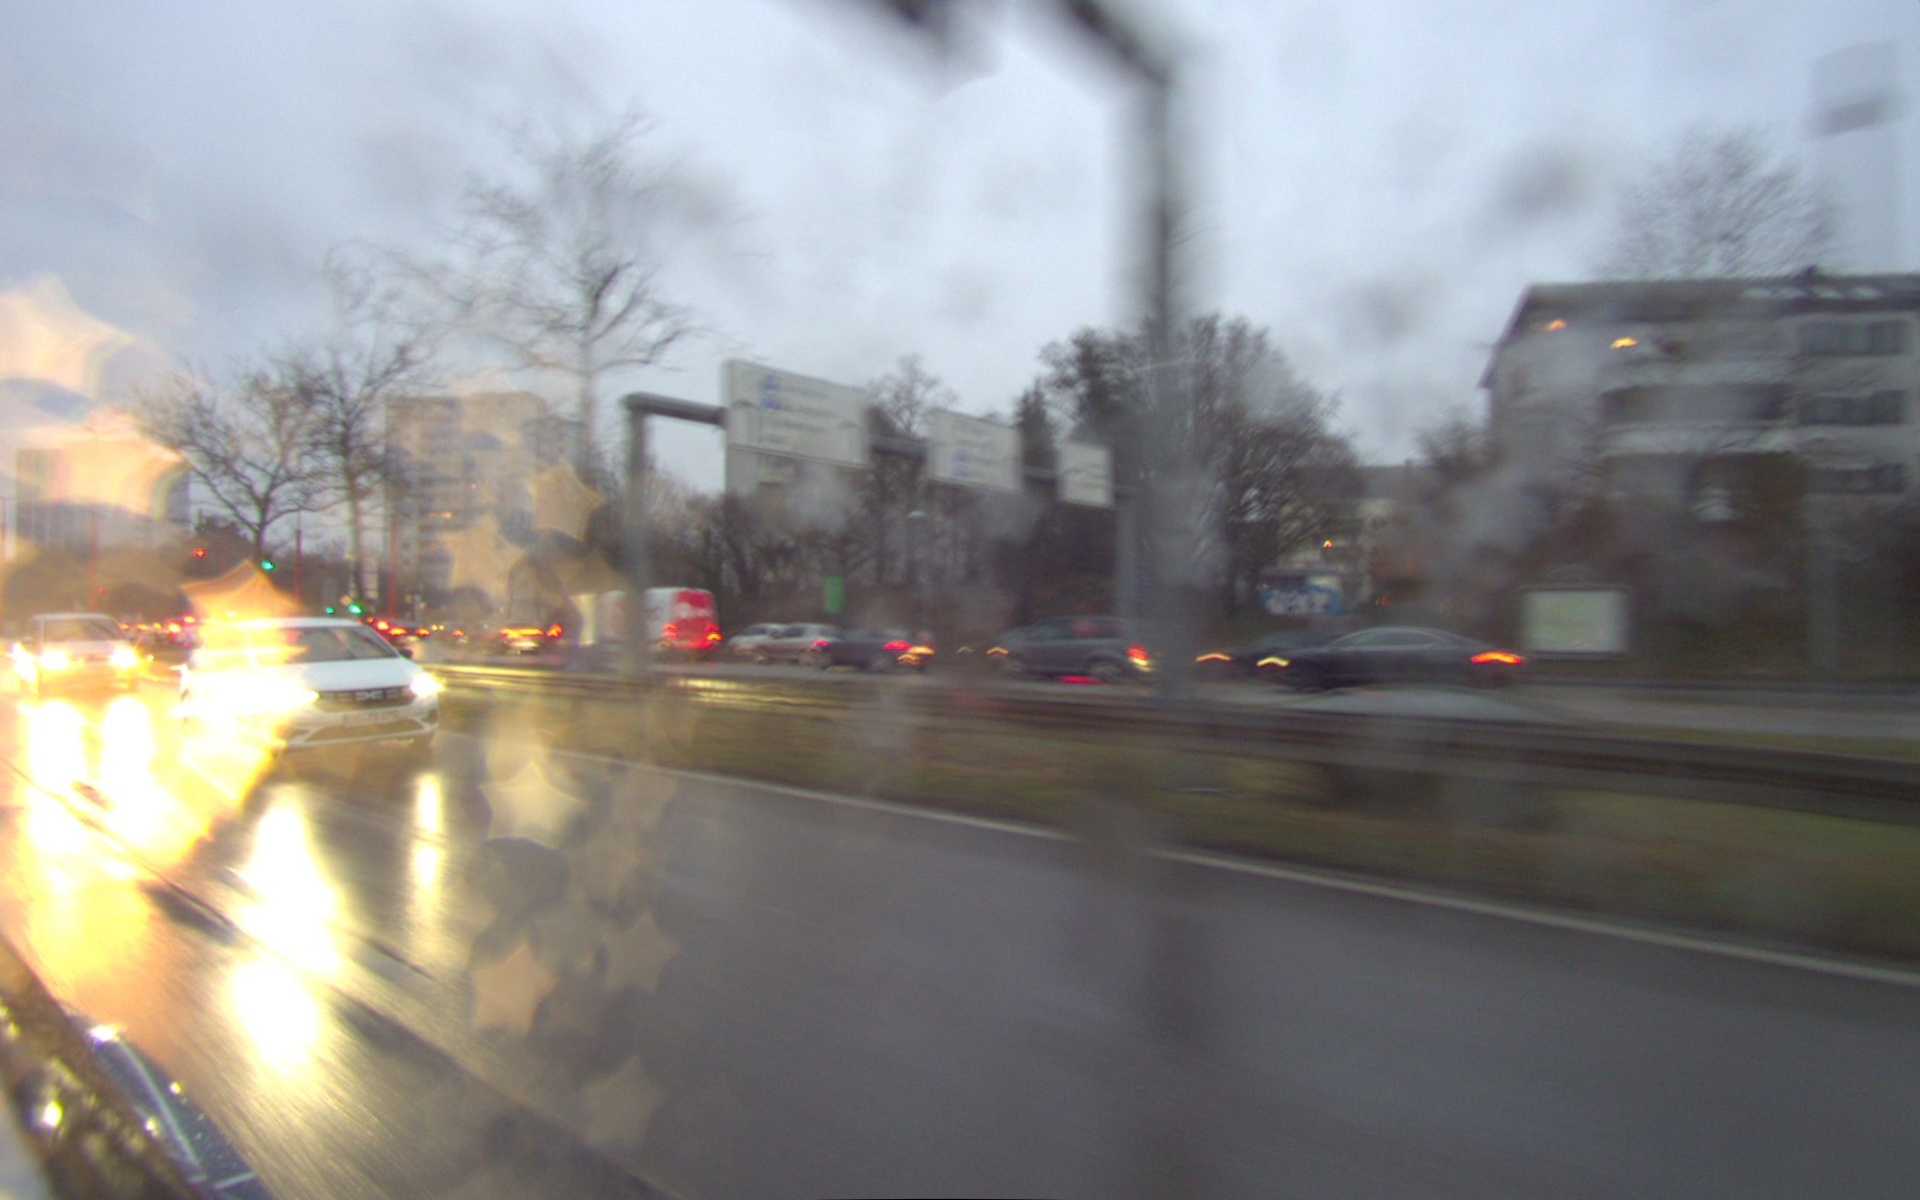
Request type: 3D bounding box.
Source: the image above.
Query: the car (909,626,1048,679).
[{"bbox_3d":[0.535,1.566,31.299,4.169,1.457,1.718,-1,-1,41],"label":"car"}]

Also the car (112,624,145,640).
[{"bbox_3d":[-82.948,3.169,100.944,3.943,1.565,1.752,-1,-2,40],"label":"car"}]

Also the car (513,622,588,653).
[{"bbox_3d":[-20.115,1.810,49.620,3.997,1.409,1.738,-1,-2,40],"label":"car"}]

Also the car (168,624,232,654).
[{"bbox_3d":[-41.442,2.098,55.140,4.836,1.548,1.752,-1,-2,40],"label":"car"}]

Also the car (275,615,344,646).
[{"bbox_3d":[-33.711,1.574,52.379,4.521,1.545,1.752,-1,-2,40],"label":"car"}]

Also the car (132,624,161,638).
[{"bbox_3d":[-87.405,3.348,108.746,4.013,1.506,1.602,-1,-2,40],"label":"car"}]

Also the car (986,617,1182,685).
[{"bbox_3d":[2.933,1.165,24.576,4.439,1.457,1.884,-1,-1,41],"label":"car"}]

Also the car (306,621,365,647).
[{"bbox_3d":[-37.991,2.055,61.487,4.436,1.506,1.752,-1,-2,40],"label":"car"}]

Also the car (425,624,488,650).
[{"bbox_3d":[-28.524,2.055,57.282,3.997,1.409,1.738,-1,-2,40],"label":"car"}]

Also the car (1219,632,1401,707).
[{"bbox_3d":[9.780,1.884,28.508,4.425,1.865,1.972,-1,-1,42],"label":"car"}]

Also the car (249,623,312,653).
[{"bbox_3d":[-38.176,2.102,56.823,4.283,1.611,1.838,-1,-2,40],"label":"car"}]

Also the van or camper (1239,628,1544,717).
[{"bbox_3d":[8.268,1.309,19.743,5.155,1.457,1.884,-1,-1,41],"label":"van or camper"}]

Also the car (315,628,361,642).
[{"bbox_3d":[-69.359,3.915,112.882,1.834,1.556,4.421,0,-1,13],"label":"car"}]

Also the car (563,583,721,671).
[{"bbox_3d":[-12.105,0.936,38.174,7.345,3.027,2.267,0,0,42],"label":"car"}]

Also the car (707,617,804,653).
[{"bbox_3d":[-9.067,1.514,44.649,4.439,1.457,1.884,-1,-1,41],"label":"car"}]

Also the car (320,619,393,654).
[{"bbox_3d":[-28.913,1.731,48.442,4.030,1.598,1.752,-1,-2,40],"label":"car"}]

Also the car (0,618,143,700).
[{"bbox_3d":[-19.010,1.174,21.584,4.186,1.551,1.673,-1,0,40],"label":"car"}]

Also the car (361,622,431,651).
[{"bbox_3d":[-30.317,1.937,54.347,4.646,1.501,1.752,-1,-2,40],"label":"car"}]

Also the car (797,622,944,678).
[{"bbox_3d":[-2.695,1.392,29.589,1.882,1.457,4.458,0,-1,-45],"label":"car"}]

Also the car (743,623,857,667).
[{"bbox_3d":[-5.823,1.568,36.536,4.087,1.457,1.884,-1,-1,41],"label":"car"}]

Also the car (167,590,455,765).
[{"bbox_3d":[-7.540,0.769,11.603,4.145,1.660,1.696,-1,-1,41],"label":"car"}]

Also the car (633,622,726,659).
[{"bbox_3d":[-11.564,1.631,41.635,3.997,1.409,1.738,-1,-2,40],"label":"car"}]

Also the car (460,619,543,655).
[{"bbox_3d":[-20.706,1.626,45.614,4.444,1.548,1.751,-1,-2,42],"label":"car"}]

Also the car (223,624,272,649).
[{"bbox_3d":[-42.828,2.176,60.803,3.323,1.431,1.635,-1,-2,40],"label":"car"}]
